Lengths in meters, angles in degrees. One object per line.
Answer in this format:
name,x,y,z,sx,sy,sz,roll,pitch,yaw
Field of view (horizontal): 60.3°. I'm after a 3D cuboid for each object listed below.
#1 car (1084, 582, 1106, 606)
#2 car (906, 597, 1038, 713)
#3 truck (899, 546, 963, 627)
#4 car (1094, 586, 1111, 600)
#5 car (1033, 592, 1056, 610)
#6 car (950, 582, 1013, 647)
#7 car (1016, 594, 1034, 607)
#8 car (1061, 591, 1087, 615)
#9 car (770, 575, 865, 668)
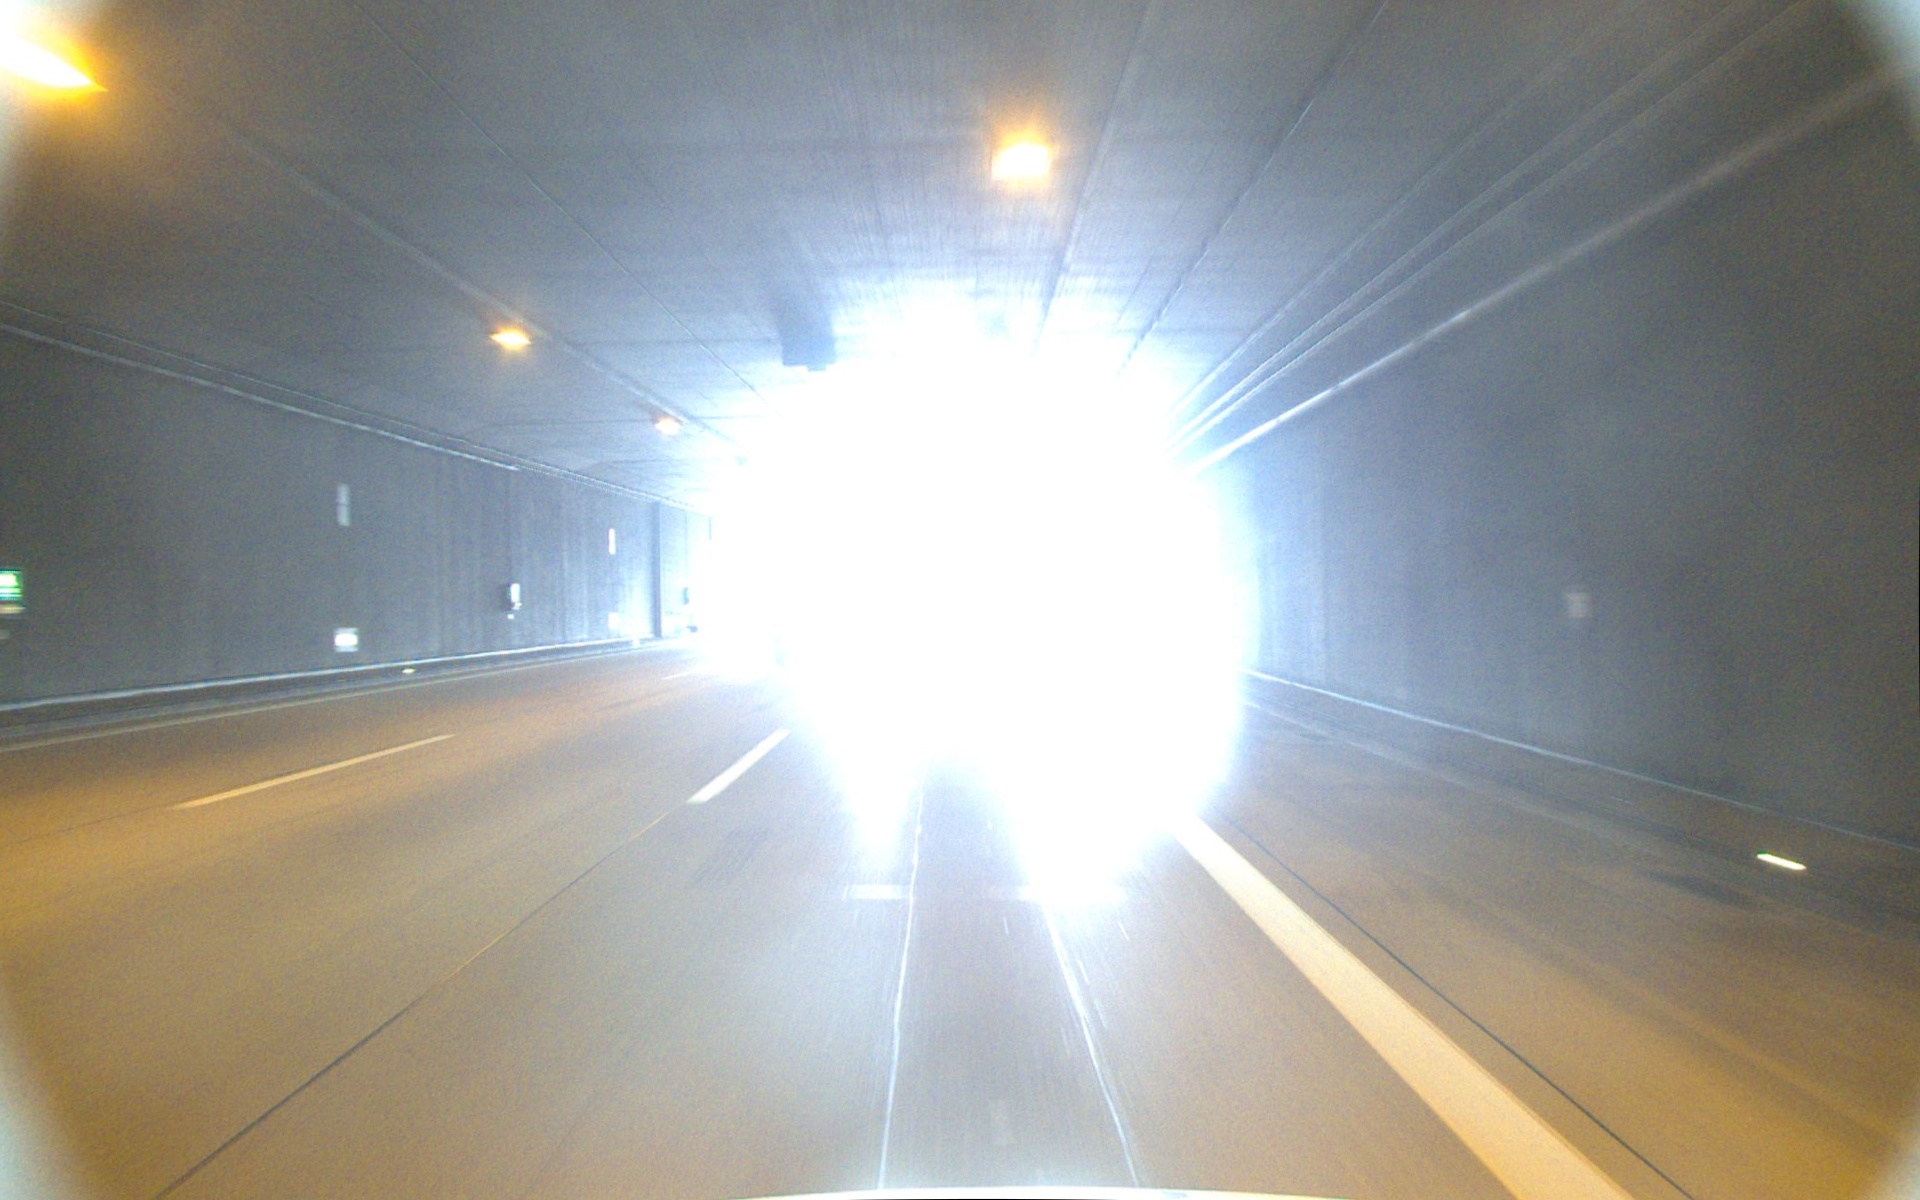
car,12.801,-0.545,156.506,1.951,2.049,4.002,-1,-2,6
car,0.128,0.706,23.314,1.707,1.489,3.870,0,0,-1
truck,-1.340,-0.637,80.289,2.977,3.737,7.392,0,0,0
car,16.683,-0.818,193.293,1.889,1.671,4.003,0,0,6
car,8.500,0.078,165.386,1.951,1.660,4.003,0,-2,8
car,0.676,0.412,49.755,1.818,1.887,4.001,0,0,2
car,8.415,0.072,213.338,1.889,1.671,4.003,0,0,8
car,8.800,0.256,127.553,1.890,1.671,4.001,-1,-2,5
car,-3.162,0.448,37.324,1.871,1.978,3.870,0,0,-1
